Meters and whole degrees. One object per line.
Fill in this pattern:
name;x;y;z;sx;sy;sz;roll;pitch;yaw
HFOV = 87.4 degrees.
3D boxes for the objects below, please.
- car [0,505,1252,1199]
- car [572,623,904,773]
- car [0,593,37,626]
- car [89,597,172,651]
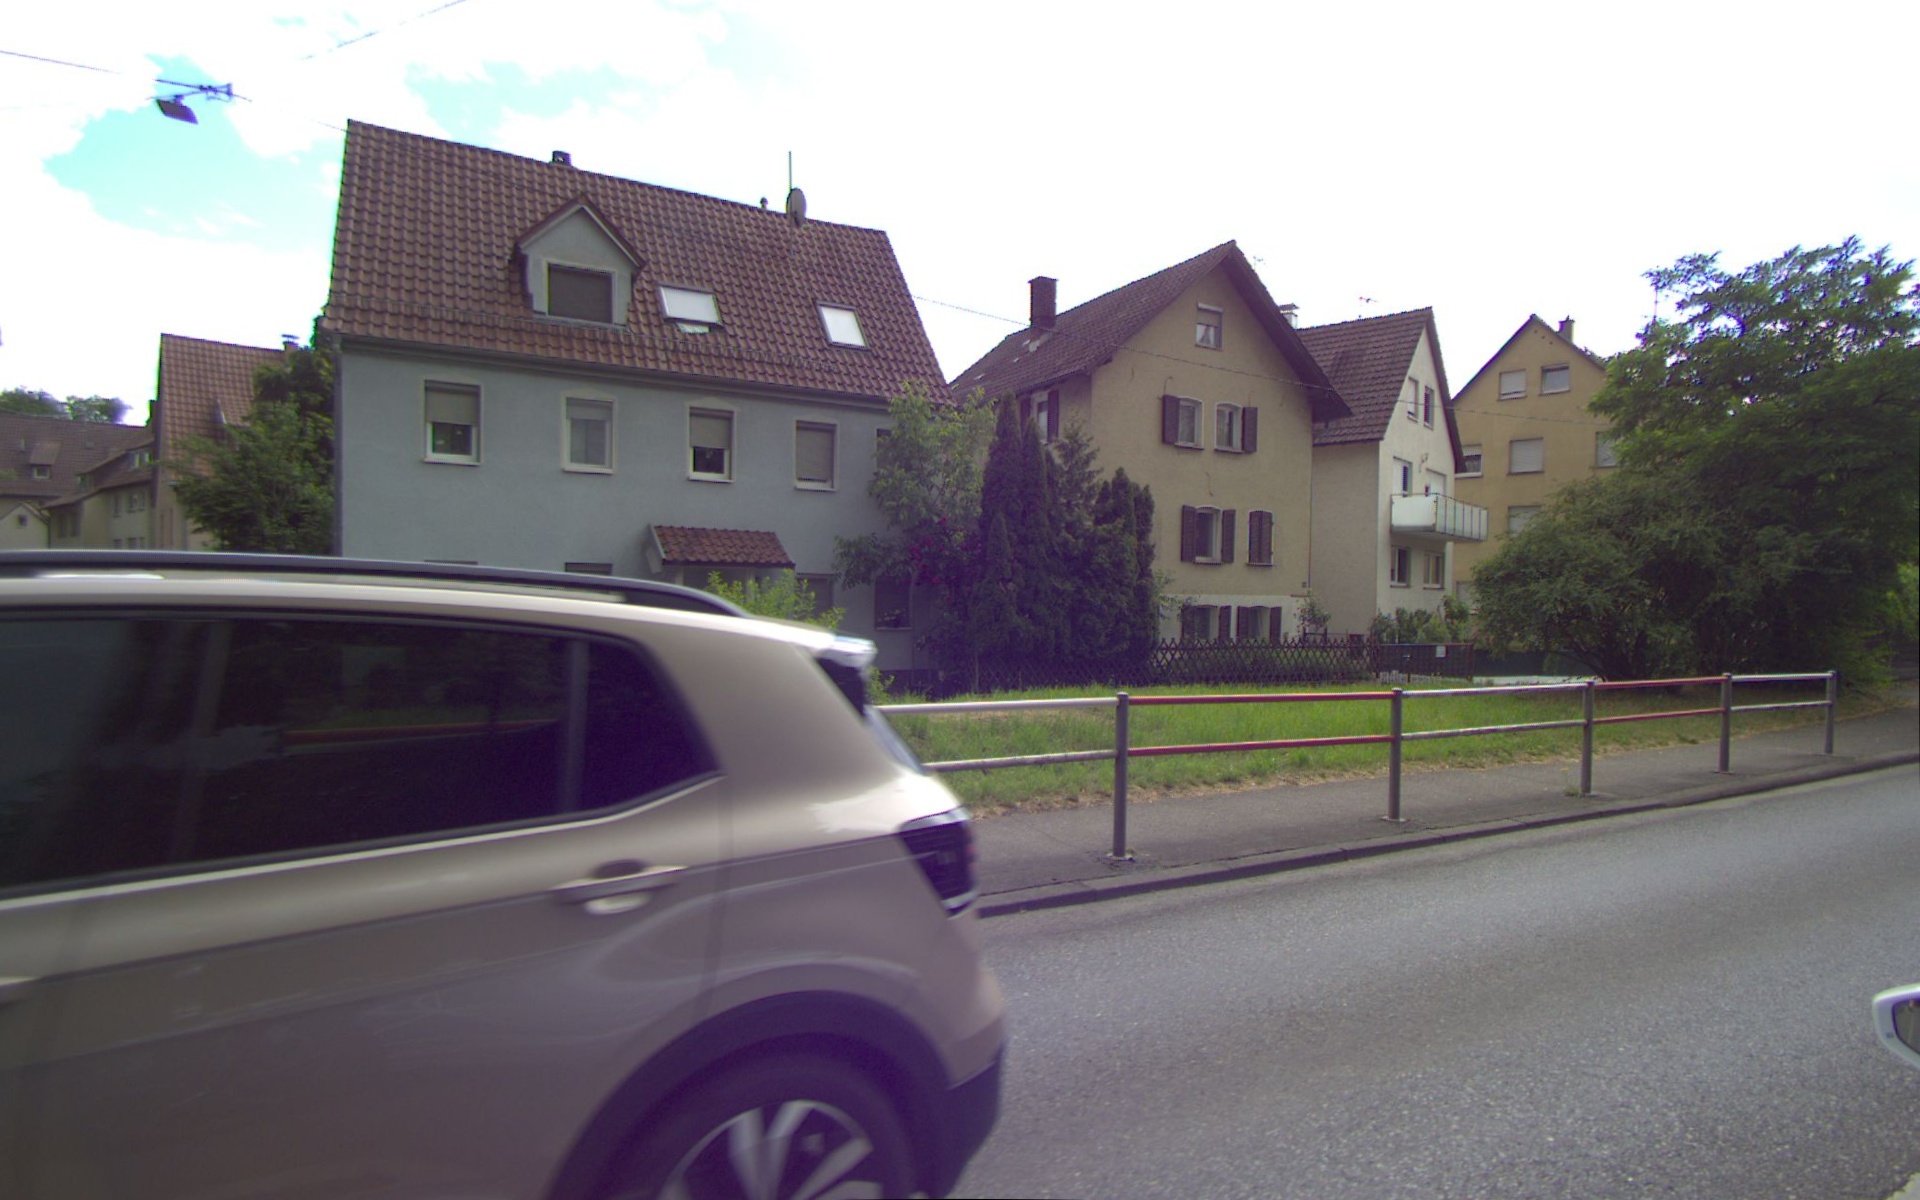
car;-1.444;0.672;2.054;3.953;1.531;1.696;1;-2;-30
car;-2.925;1.184;13.214;3.945;1.717;1.916;1;-1;-25
car;-39.796;0.371;41.959;1.703;1.254;3.951;5;-3;-42
car;-25.073;0.717;30.312;1.703;1.451;3.951;5;-3;-42
